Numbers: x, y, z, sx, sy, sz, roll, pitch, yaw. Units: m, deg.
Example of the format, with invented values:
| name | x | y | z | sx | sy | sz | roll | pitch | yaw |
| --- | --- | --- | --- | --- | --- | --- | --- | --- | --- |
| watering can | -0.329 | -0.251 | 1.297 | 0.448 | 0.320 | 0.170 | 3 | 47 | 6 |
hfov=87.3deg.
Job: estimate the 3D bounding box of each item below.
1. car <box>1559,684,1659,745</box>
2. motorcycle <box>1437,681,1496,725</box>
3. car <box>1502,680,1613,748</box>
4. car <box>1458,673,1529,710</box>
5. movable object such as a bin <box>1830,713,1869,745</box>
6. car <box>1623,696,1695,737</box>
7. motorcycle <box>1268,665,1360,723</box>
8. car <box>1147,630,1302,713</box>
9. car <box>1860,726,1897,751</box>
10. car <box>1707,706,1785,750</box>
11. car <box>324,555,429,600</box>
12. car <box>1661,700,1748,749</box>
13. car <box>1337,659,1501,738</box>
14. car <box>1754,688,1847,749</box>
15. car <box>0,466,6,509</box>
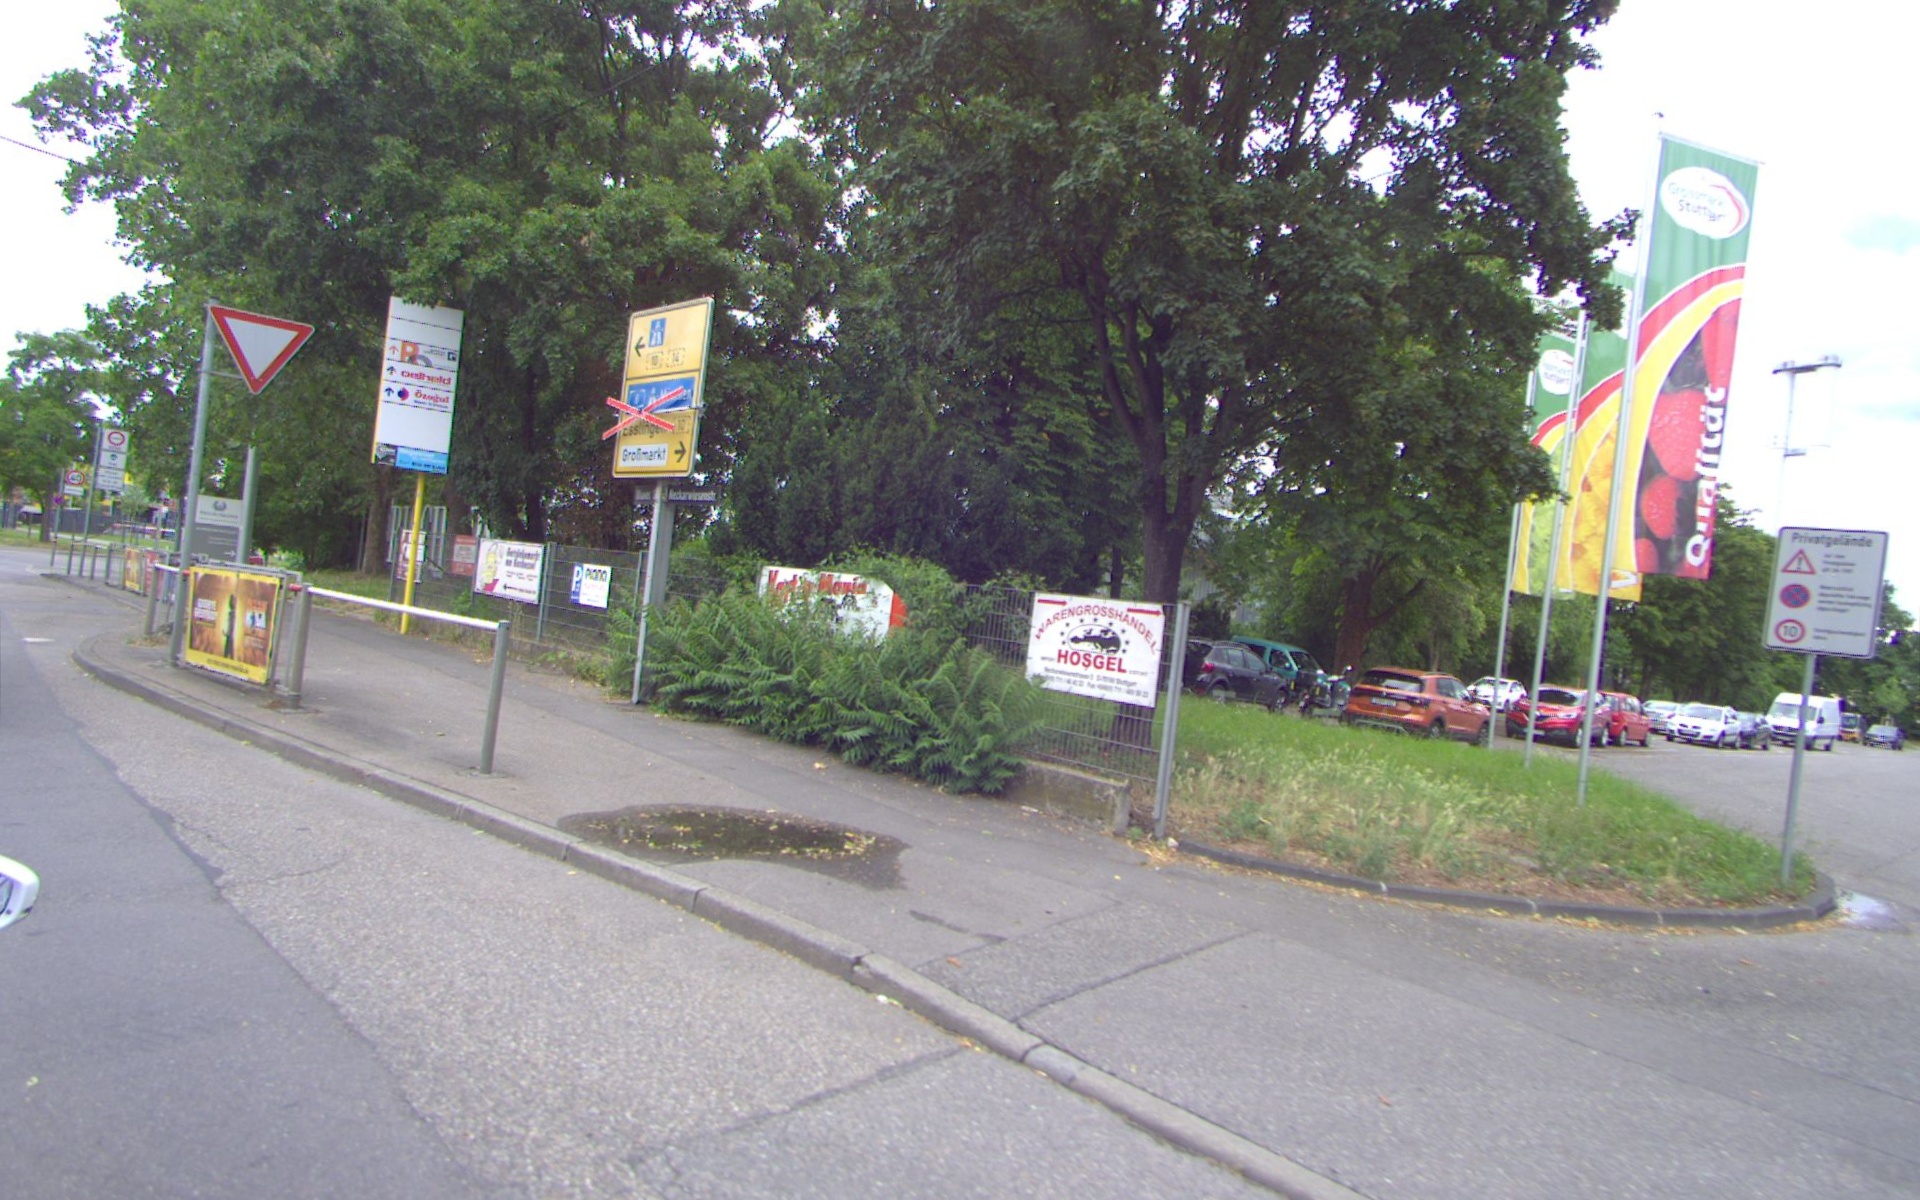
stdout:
| name | x | y | z | sx | sy | sz | roll | pitch | yaw |
| --- | --- | --- | --- | --- | --- | --- | --- | --- | --- |
| car | 20.493 | 3.621 | 31.692 | 3.763 | 1.615 | 1.579 | 7 | 0 | -42 |
| motorcycle | 15.866 | 3.234 | 31.512 | 1.003 | 1.189 | 2.087 | 7 | 0 | 43 |
| car | 16.768 | 3.200 | 28.169 | 3.538 | 1.585 | 1.617 | 7 | 0 | -43 |
| car | 23.378 | 4.028 | 44.050 | 3.289 | 1.283 | 1.399 | 7 | 0 | -37 |
| movable object such as a bin | 66.834 | 9.638 | 75.656 | 1.773 | 2.038 | 5.911 | 7 | -1 | 39 |
| car | 30.338 | 5.068 | 43.619 | 3.634 | 1.458 | 1.579 | 7 | 0 | -41 |
| motorcycle | 8.049 | 2.149 | 22.832 | 2.083 | 1.102 | 1.004 | 7 | 0 | -42 |
| car | 6.380 | 1.733 | 24.085 | 3.712 | 1.600 | 1.618 | 7 | 0 | -40 |
| car | 63.318 | 9.525 | 69.366 | 3.638 | 1.458 | 1.577 | 7 | 0 | -44 |
| car | 32.454 | 5.303 | 41.495 | 3.630 | 1.458 | 1.581 | 7 | 0 | -38 |
| car | -26.120 | -1.003 | 45.119 | 1.461 | 1.523 | 3.712 | 6 | -1 | 43 |
| car | 28.473 | 4.758 | 38.456 | 3.774 | 1.531 | 1.581 | 7 | 0 | -38 |
| car | 9.486 | 2.051 | 20.664 | 3.677 | 1.264 | 1.689 | 7 | -1 | -43 |
| car | 41.840 | 5.919 | 49.996 | 6.875 | 2.510 | 2.284 | 7 | 0 | -41 |
| car | -8.123 | -0.274 | 6.729 | 4.123 | 1.655 | 1.844 | 7 | -2 | 38 |
